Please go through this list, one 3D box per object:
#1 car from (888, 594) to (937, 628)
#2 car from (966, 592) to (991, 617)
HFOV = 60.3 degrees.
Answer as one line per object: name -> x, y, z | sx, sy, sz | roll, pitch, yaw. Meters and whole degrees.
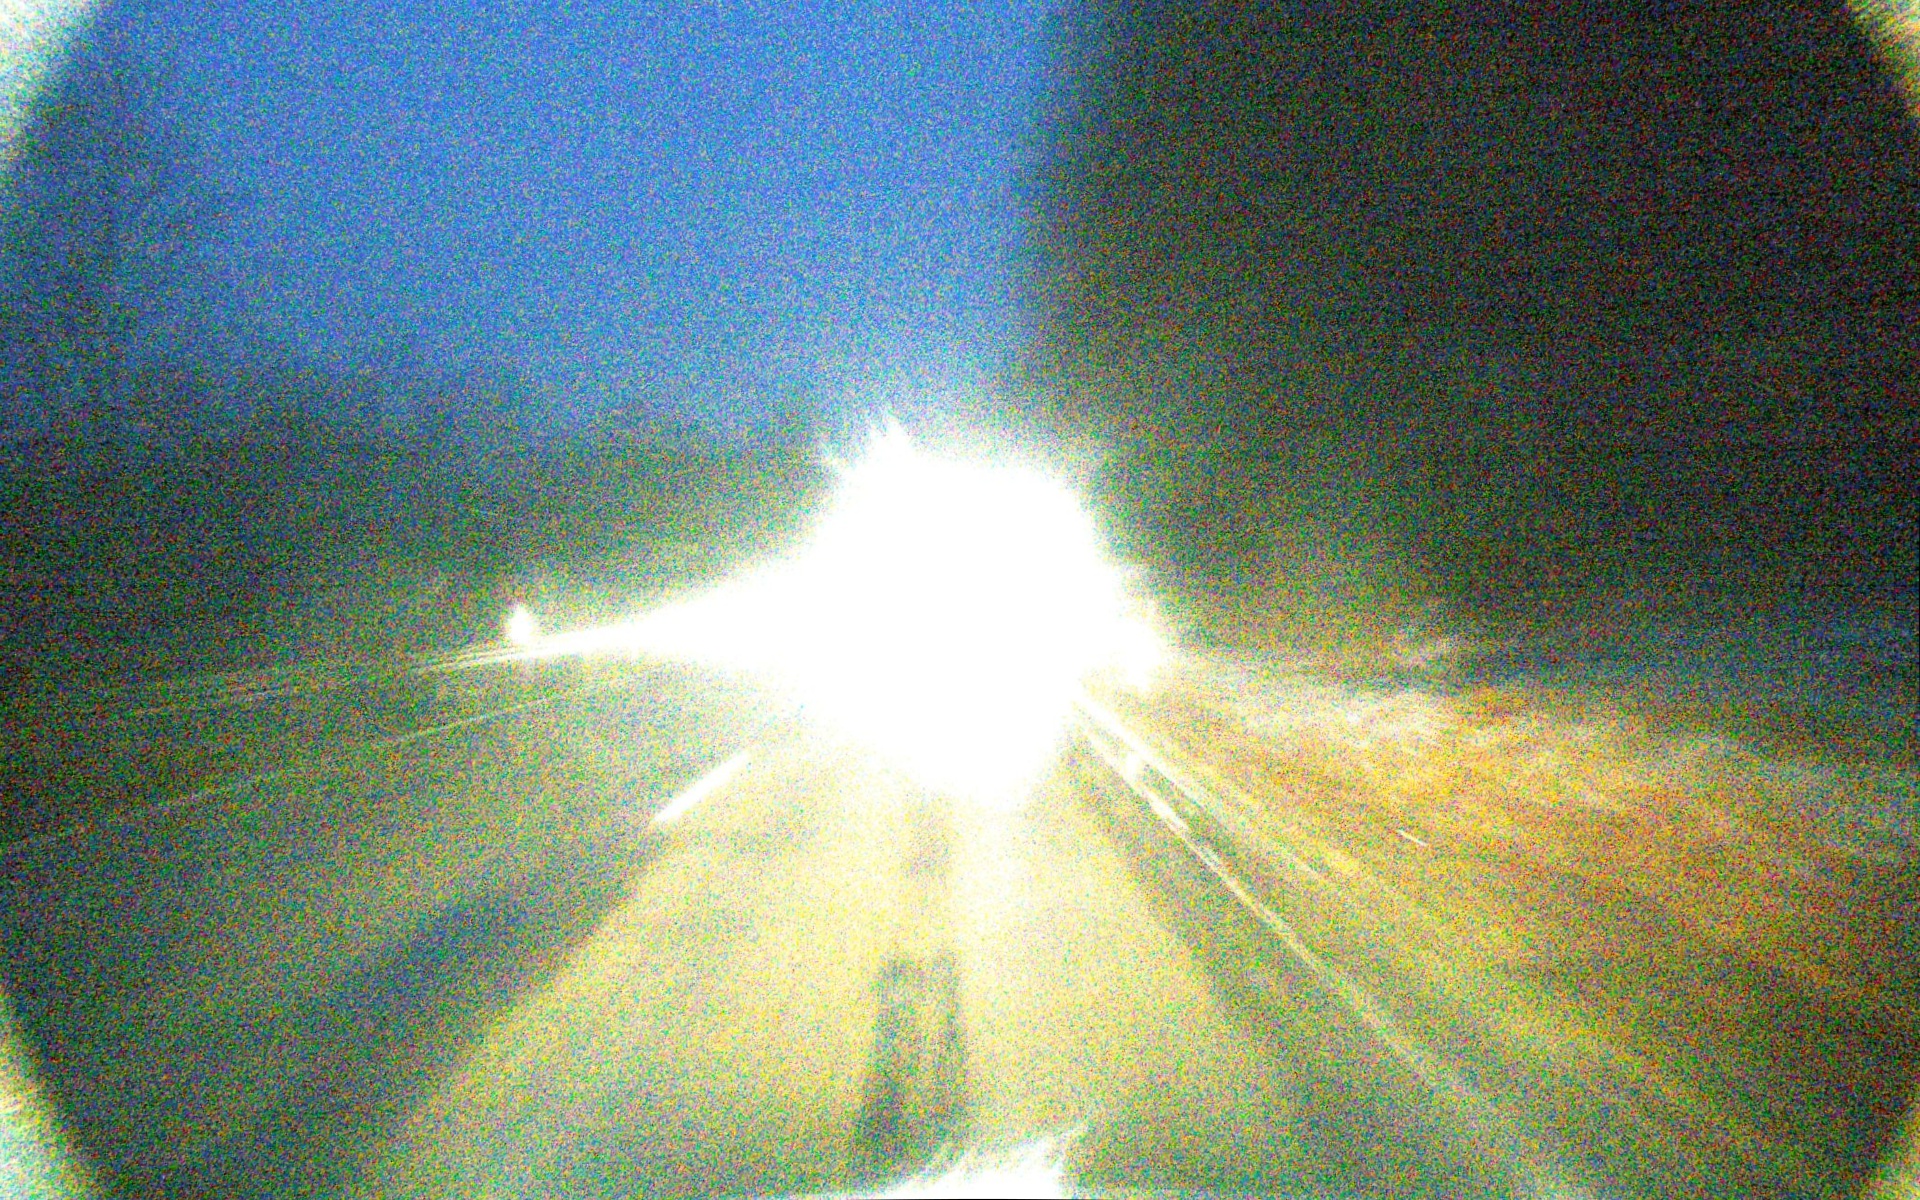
car -> -2.067, 0.463, 72.843 | 1.952, 1.415, 3.846 | 1, 0, 1
car -> 1.435, 0.340, 128.691 | 1.816, 1.974, 4.001 | 0, 0, 3
